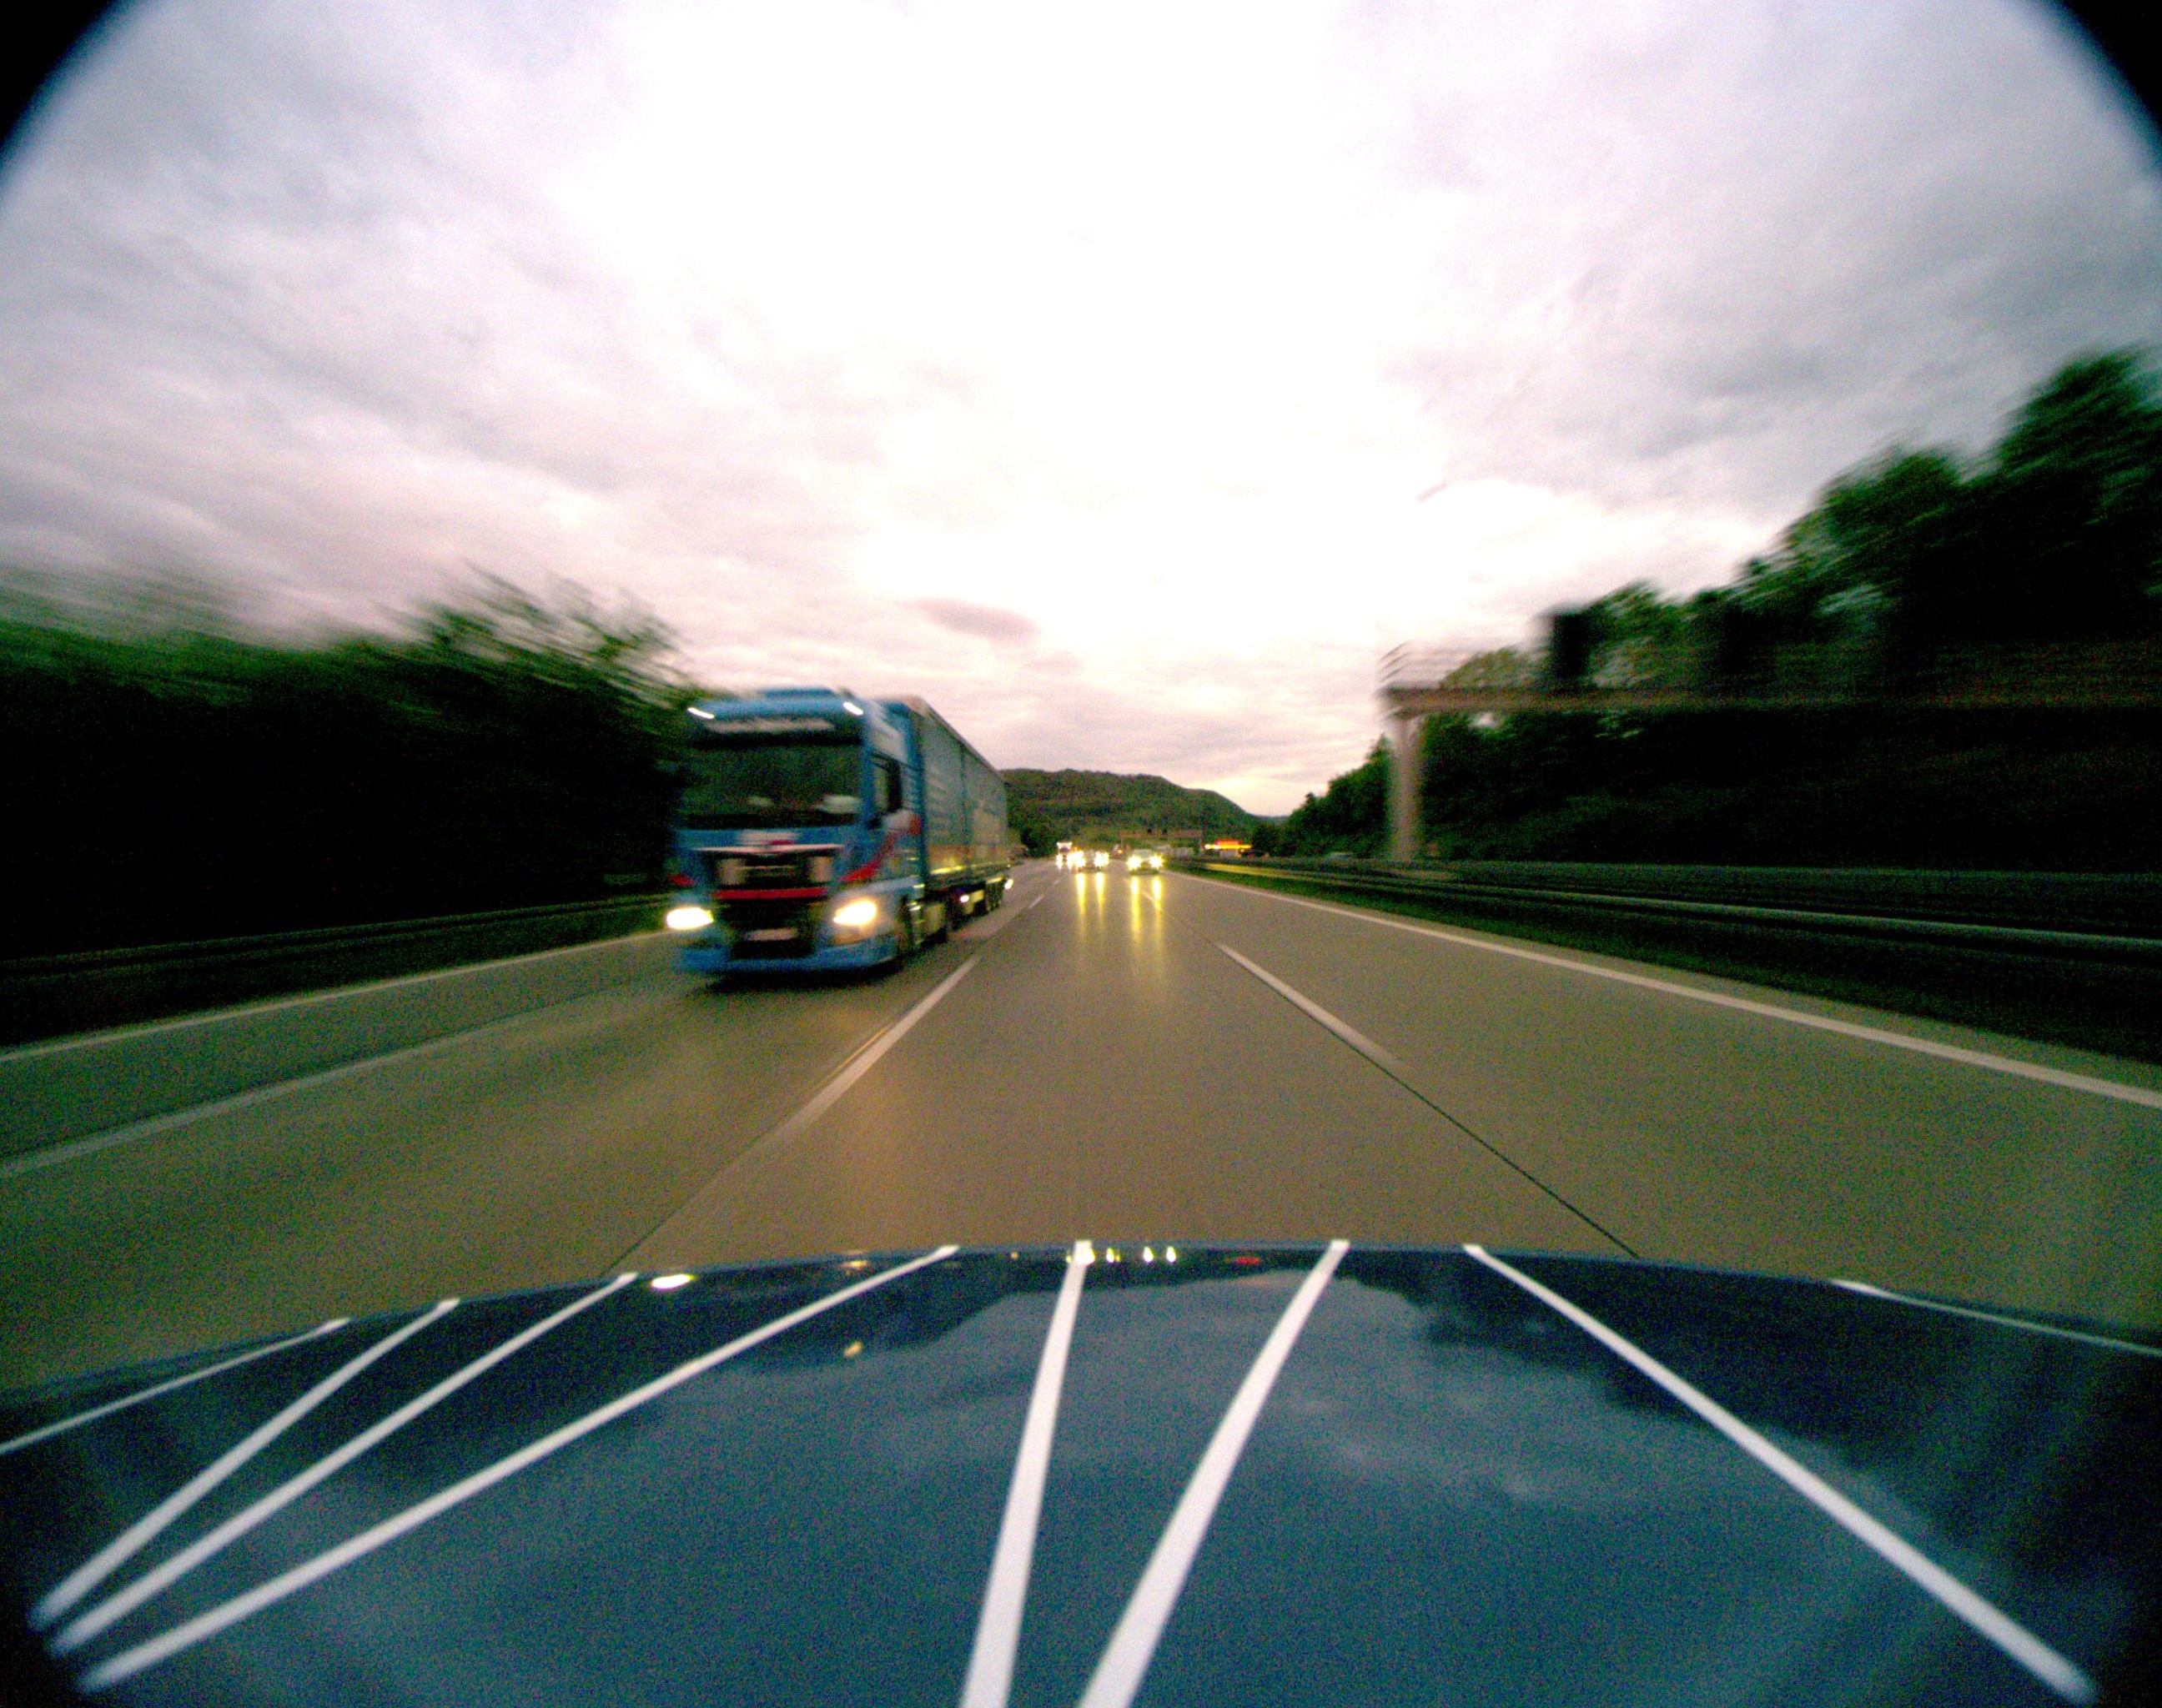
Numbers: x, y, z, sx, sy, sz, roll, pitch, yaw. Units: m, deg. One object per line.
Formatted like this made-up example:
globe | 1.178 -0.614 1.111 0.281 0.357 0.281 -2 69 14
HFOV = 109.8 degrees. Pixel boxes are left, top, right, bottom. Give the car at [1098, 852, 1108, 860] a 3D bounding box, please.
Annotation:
car | 4.804 0.410 163.820 1.898 1.503 3.999 -1 0 -1

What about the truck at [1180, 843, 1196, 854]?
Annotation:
truck | 36.195 -1.859 257.425 2.881 3.405 13.785 -1 0 -4

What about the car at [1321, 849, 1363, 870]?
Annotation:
car | 21.509 0.433 62.871 1.853 1.629 4.775 -1 1 0

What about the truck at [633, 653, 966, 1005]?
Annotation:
truck | -3.683 -0.306 11.678 2.743 3.973 5.849 -2 1 1

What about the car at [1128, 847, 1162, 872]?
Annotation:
car | 4.479 0.341 53.598 1.894 1.650 5.639 -2 1 0

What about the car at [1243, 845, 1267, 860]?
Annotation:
car | 22.150 -0.209 97.014 1.853 1.724 5.660 -1 1 0

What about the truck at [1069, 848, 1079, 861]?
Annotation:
truck | -2.257 0.113 250.856 3.120 3.850 14.161 2 0 0

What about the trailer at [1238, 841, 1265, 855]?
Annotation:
trailer | 47.269 -1.662 210.054 3.063 3.657 13.368 -1 0 31

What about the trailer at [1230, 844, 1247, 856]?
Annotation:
trailer | 50.862 -1.295 245.619 2.880 3.657 12.717 -1 0 1

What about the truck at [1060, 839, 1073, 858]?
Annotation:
truck | -2.879 -1.119 154.833 2.623 3.805 10.384 -1 1 -1

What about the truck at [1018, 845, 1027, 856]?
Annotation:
truck | -20.266 -1.194 263.485 2.847 3.893 11.981 0 0 -6

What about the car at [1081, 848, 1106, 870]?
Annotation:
car | 1.014 0.338 59.890 1.927 1.674 4.806 0 1 1

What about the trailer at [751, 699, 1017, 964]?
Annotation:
trailer | -3.649 -0.400 18.760 2.779 4.063 13.738 -2 0 0
